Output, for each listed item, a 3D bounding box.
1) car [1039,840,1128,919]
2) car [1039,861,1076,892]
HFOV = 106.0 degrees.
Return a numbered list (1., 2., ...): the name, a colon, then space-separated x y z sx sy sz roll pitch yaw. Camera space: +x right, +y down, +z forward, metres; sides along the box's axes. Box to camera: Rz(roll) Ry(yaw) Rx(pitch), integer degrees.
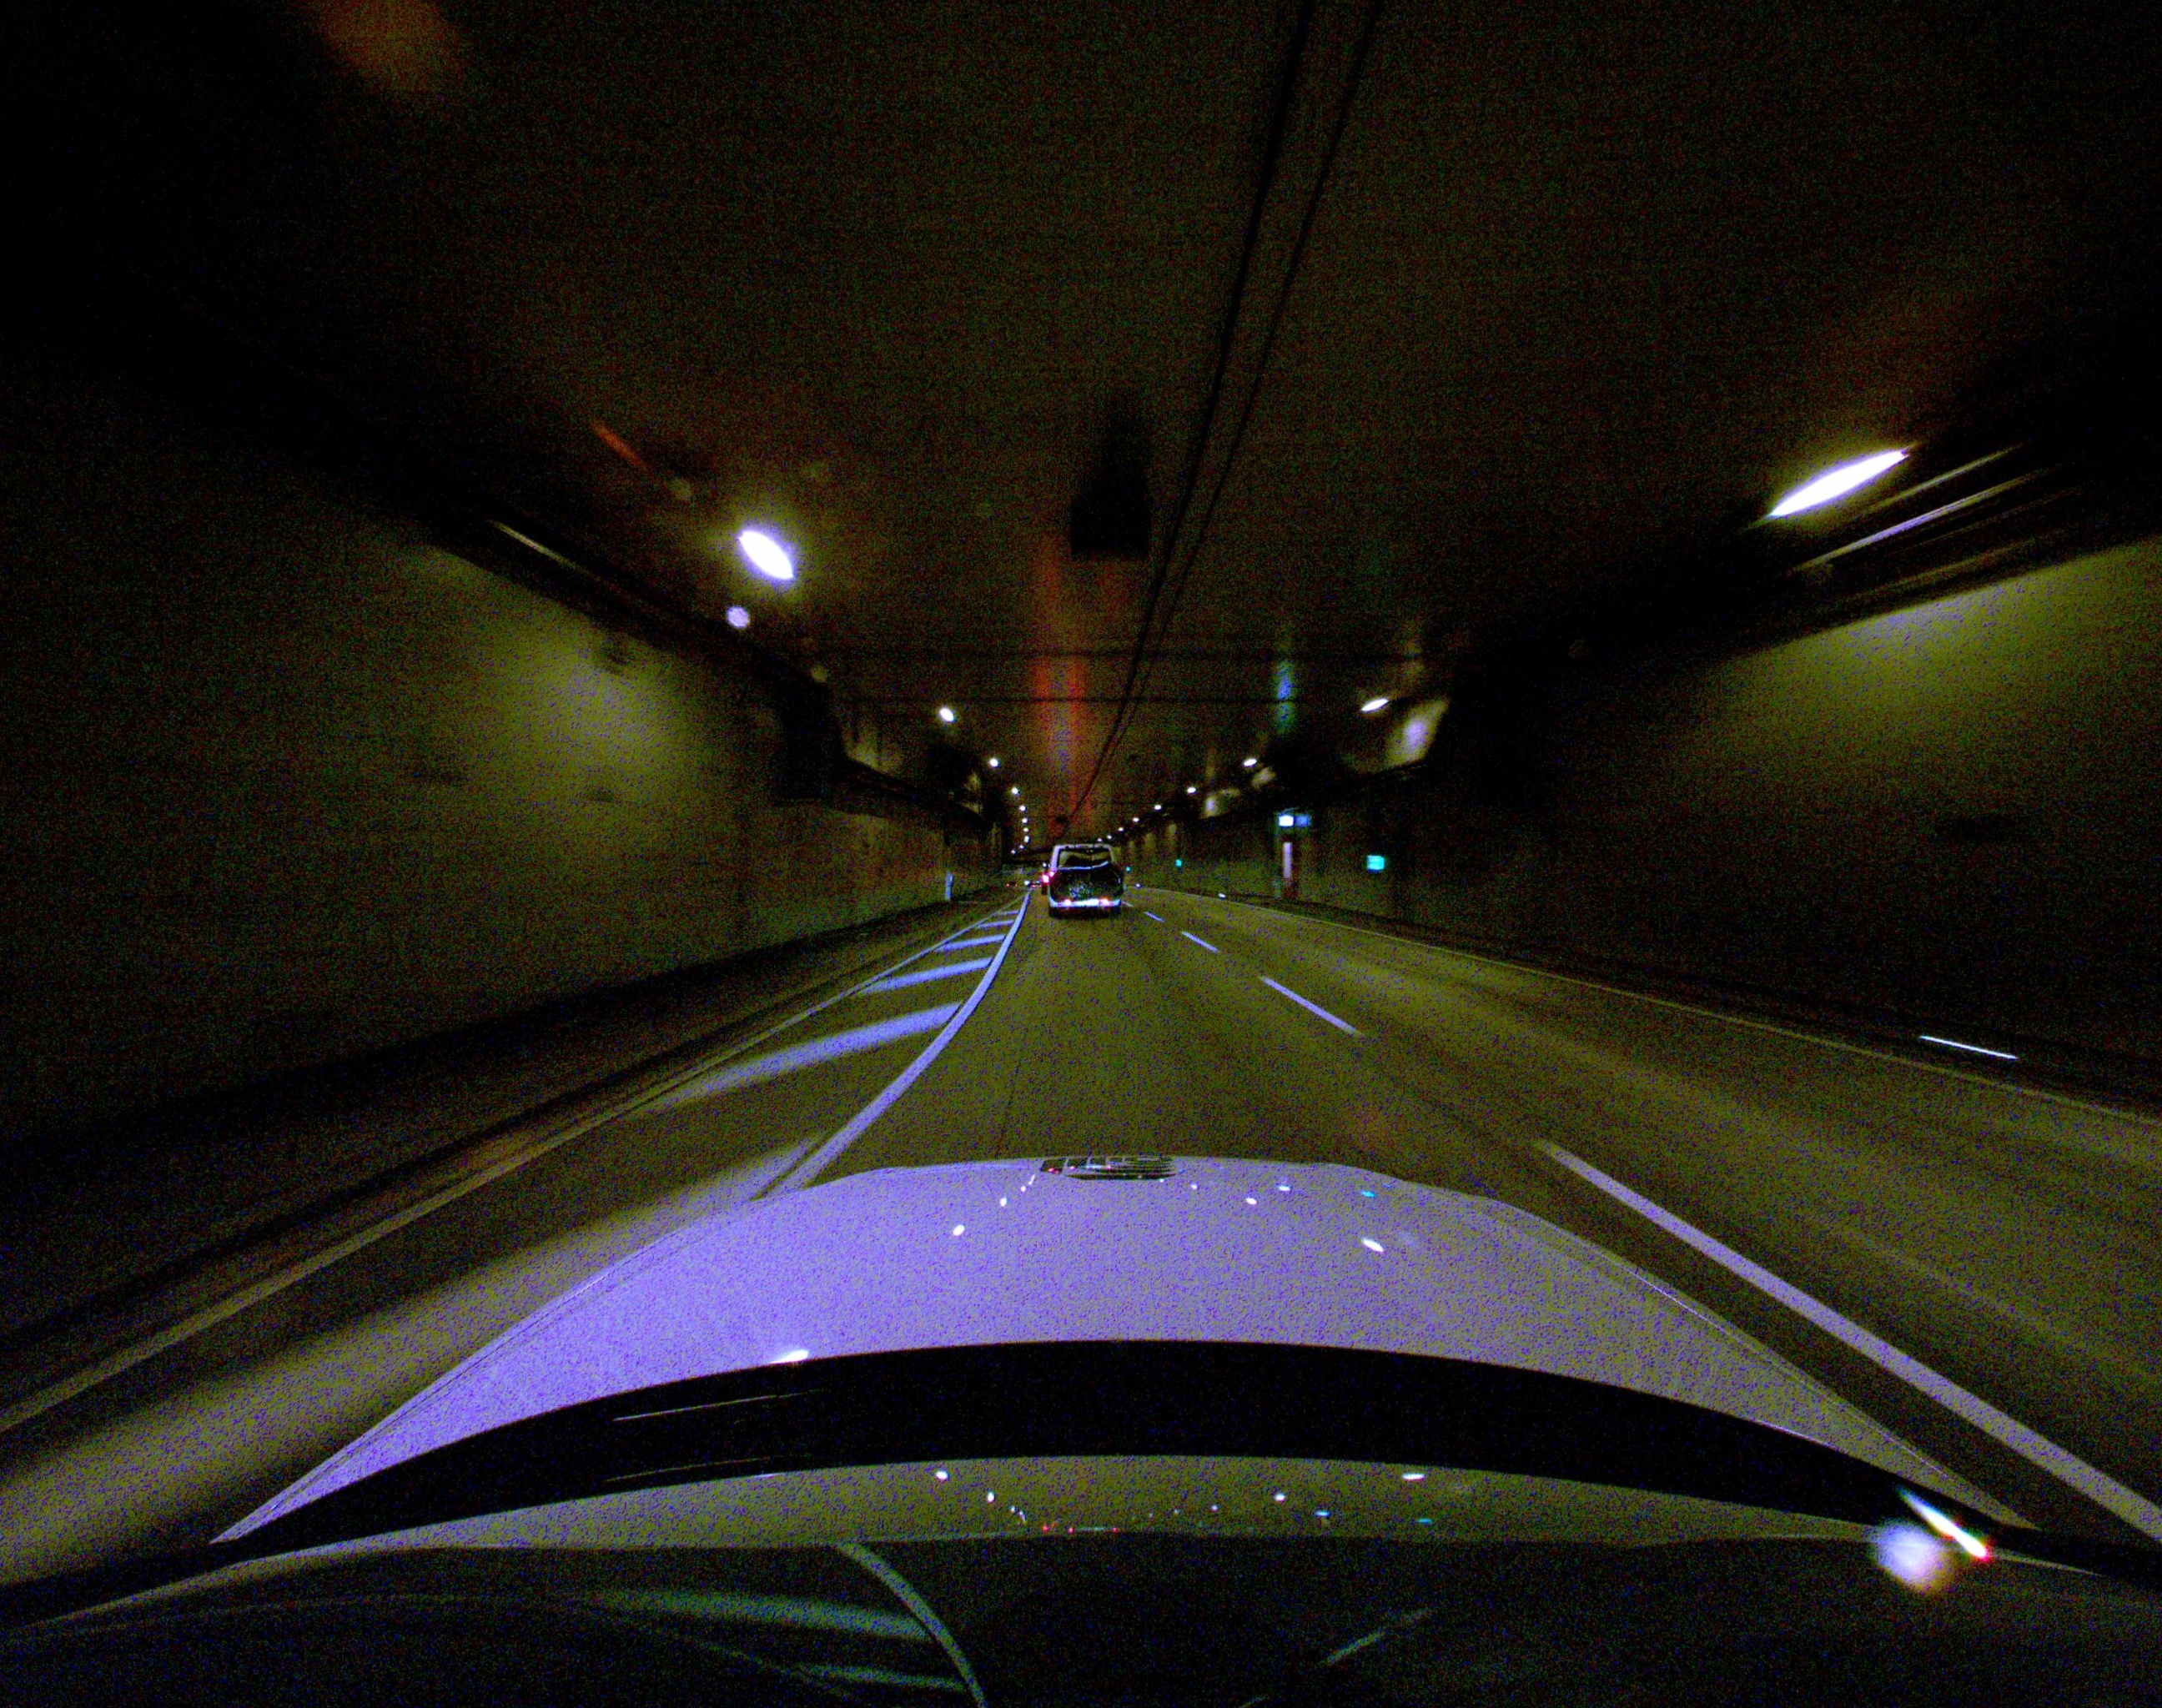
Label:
1. car: -0.073 0.623 22.026 1.990 1.847 5.293 -1 -1 -4
2. car: -1.125 1.031 37.641 1.599 1.395 3.272 0 -1 -4
